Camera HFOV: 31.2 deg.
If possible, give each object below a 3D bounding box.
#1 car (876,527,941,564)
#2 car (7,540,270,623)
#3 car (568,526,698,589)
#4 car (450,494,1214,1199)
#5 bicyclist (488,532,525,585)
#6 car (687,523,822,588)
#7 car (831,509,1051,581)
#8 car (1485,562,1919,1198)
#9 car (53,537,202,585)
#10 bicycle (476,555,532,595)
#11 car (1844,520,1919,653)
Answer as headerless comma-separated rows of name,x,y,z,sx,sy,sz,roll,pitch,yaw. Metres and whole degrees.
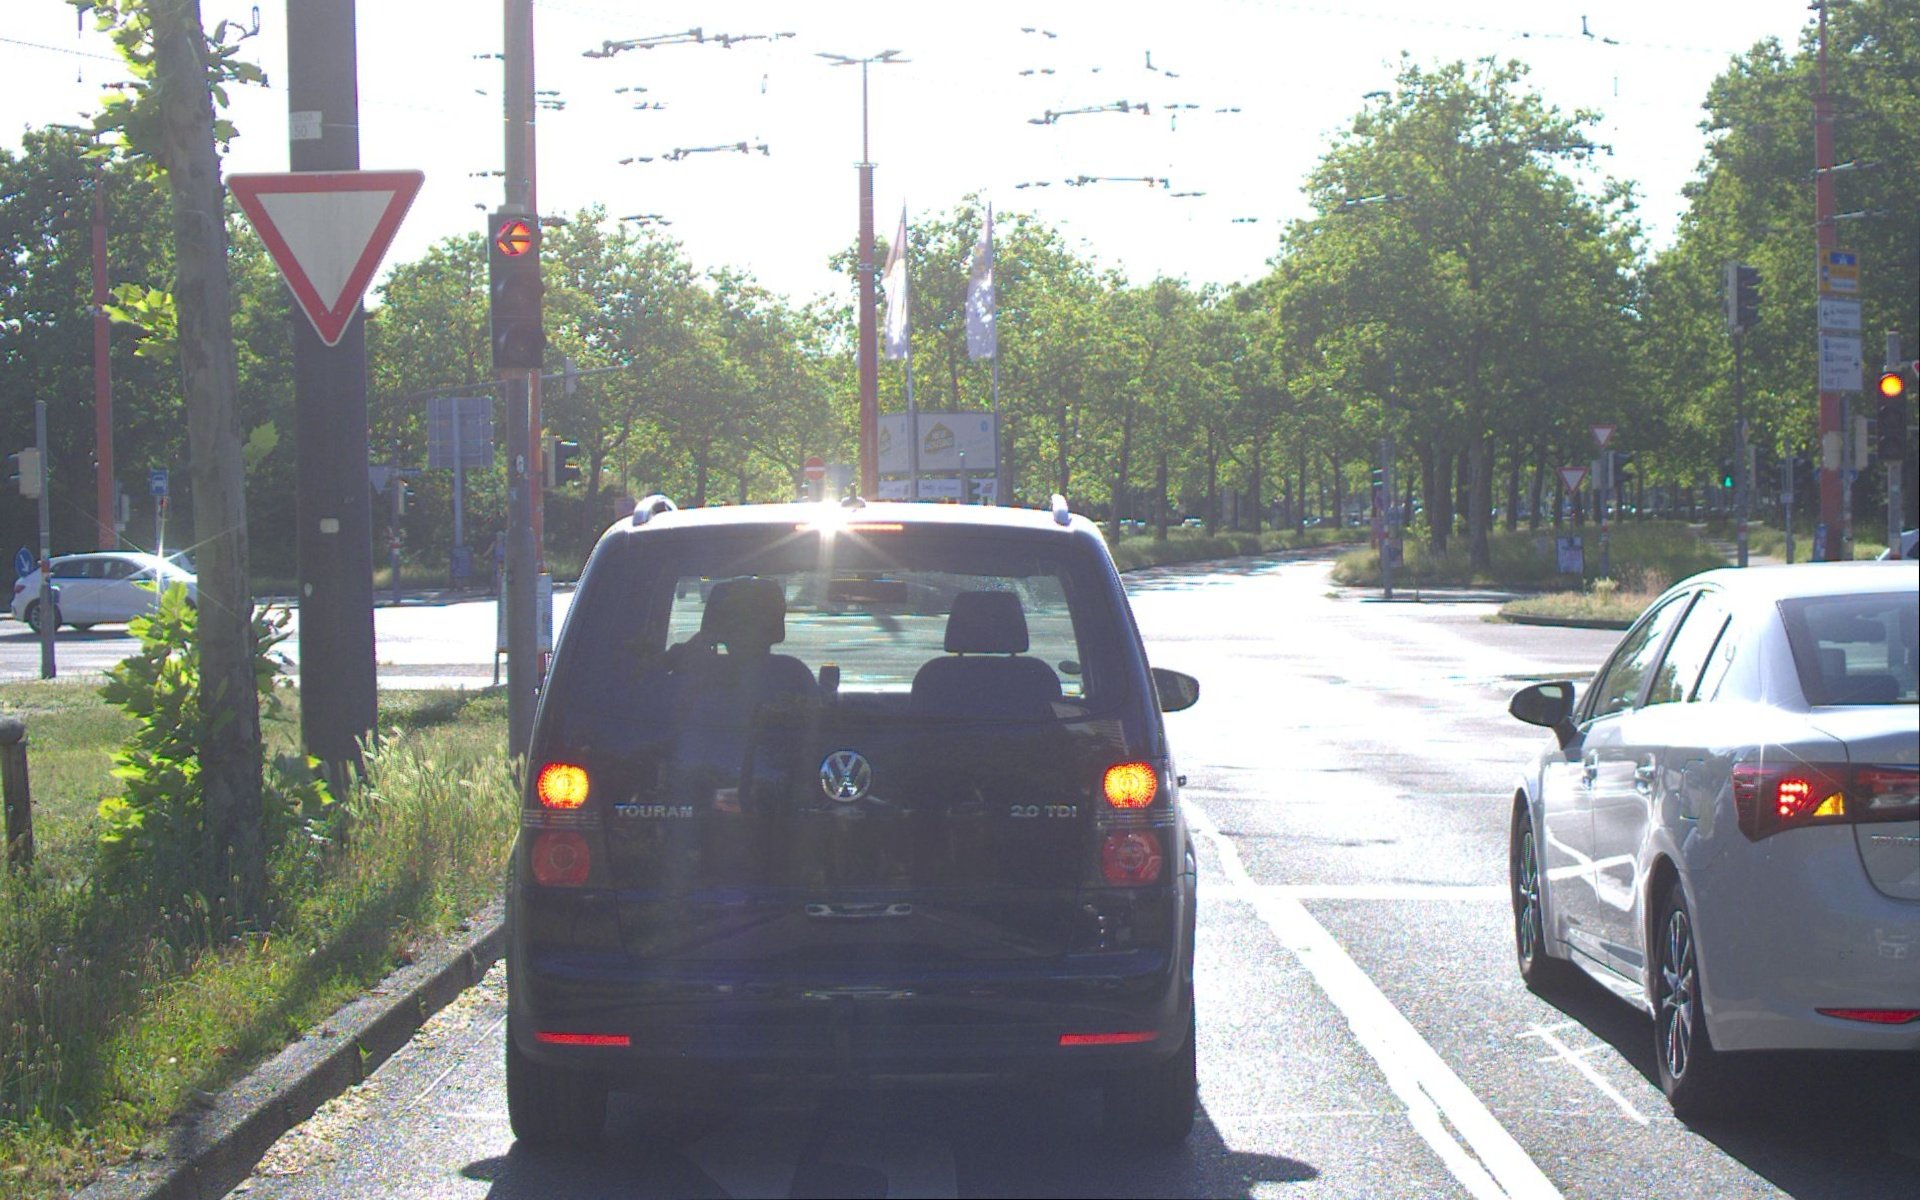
car,-2.337,-2.524,158.033,1.994,1.679,4.826,0,1,11
car,-14.848,-0.343,62.188,4.211,1.459,1.913,0,1,13
car,-8.954,-1.178,94.449,1.995,1.679,4.825,0,1,15
car,-0.314,0.547,9.874,1.737,1.635,4.000,0,1,-1
bicyclist,-12.484,-1.155,94.627,0.693,1.452,0.874,0,1,18
car,-5.431,-1.196,91.537,1.995,1.679,4.825,0,1,17
car,-0.389,-1.161,71.471,4.209,1.459,1.914,-1,1,-33
car,2.690,0.631,10.075,1.715,1.449,4.144,0,1,1
car,-23.243,-1.096,95.994,3.802,1.305,1.663,-1,1,-23
bicycle,-12.515,-0.687,94.415,0.735,1.086,1.959,0,1,18
car,13.262,-0.173,41.298,4.788,1.592,1.911,0,1,30
